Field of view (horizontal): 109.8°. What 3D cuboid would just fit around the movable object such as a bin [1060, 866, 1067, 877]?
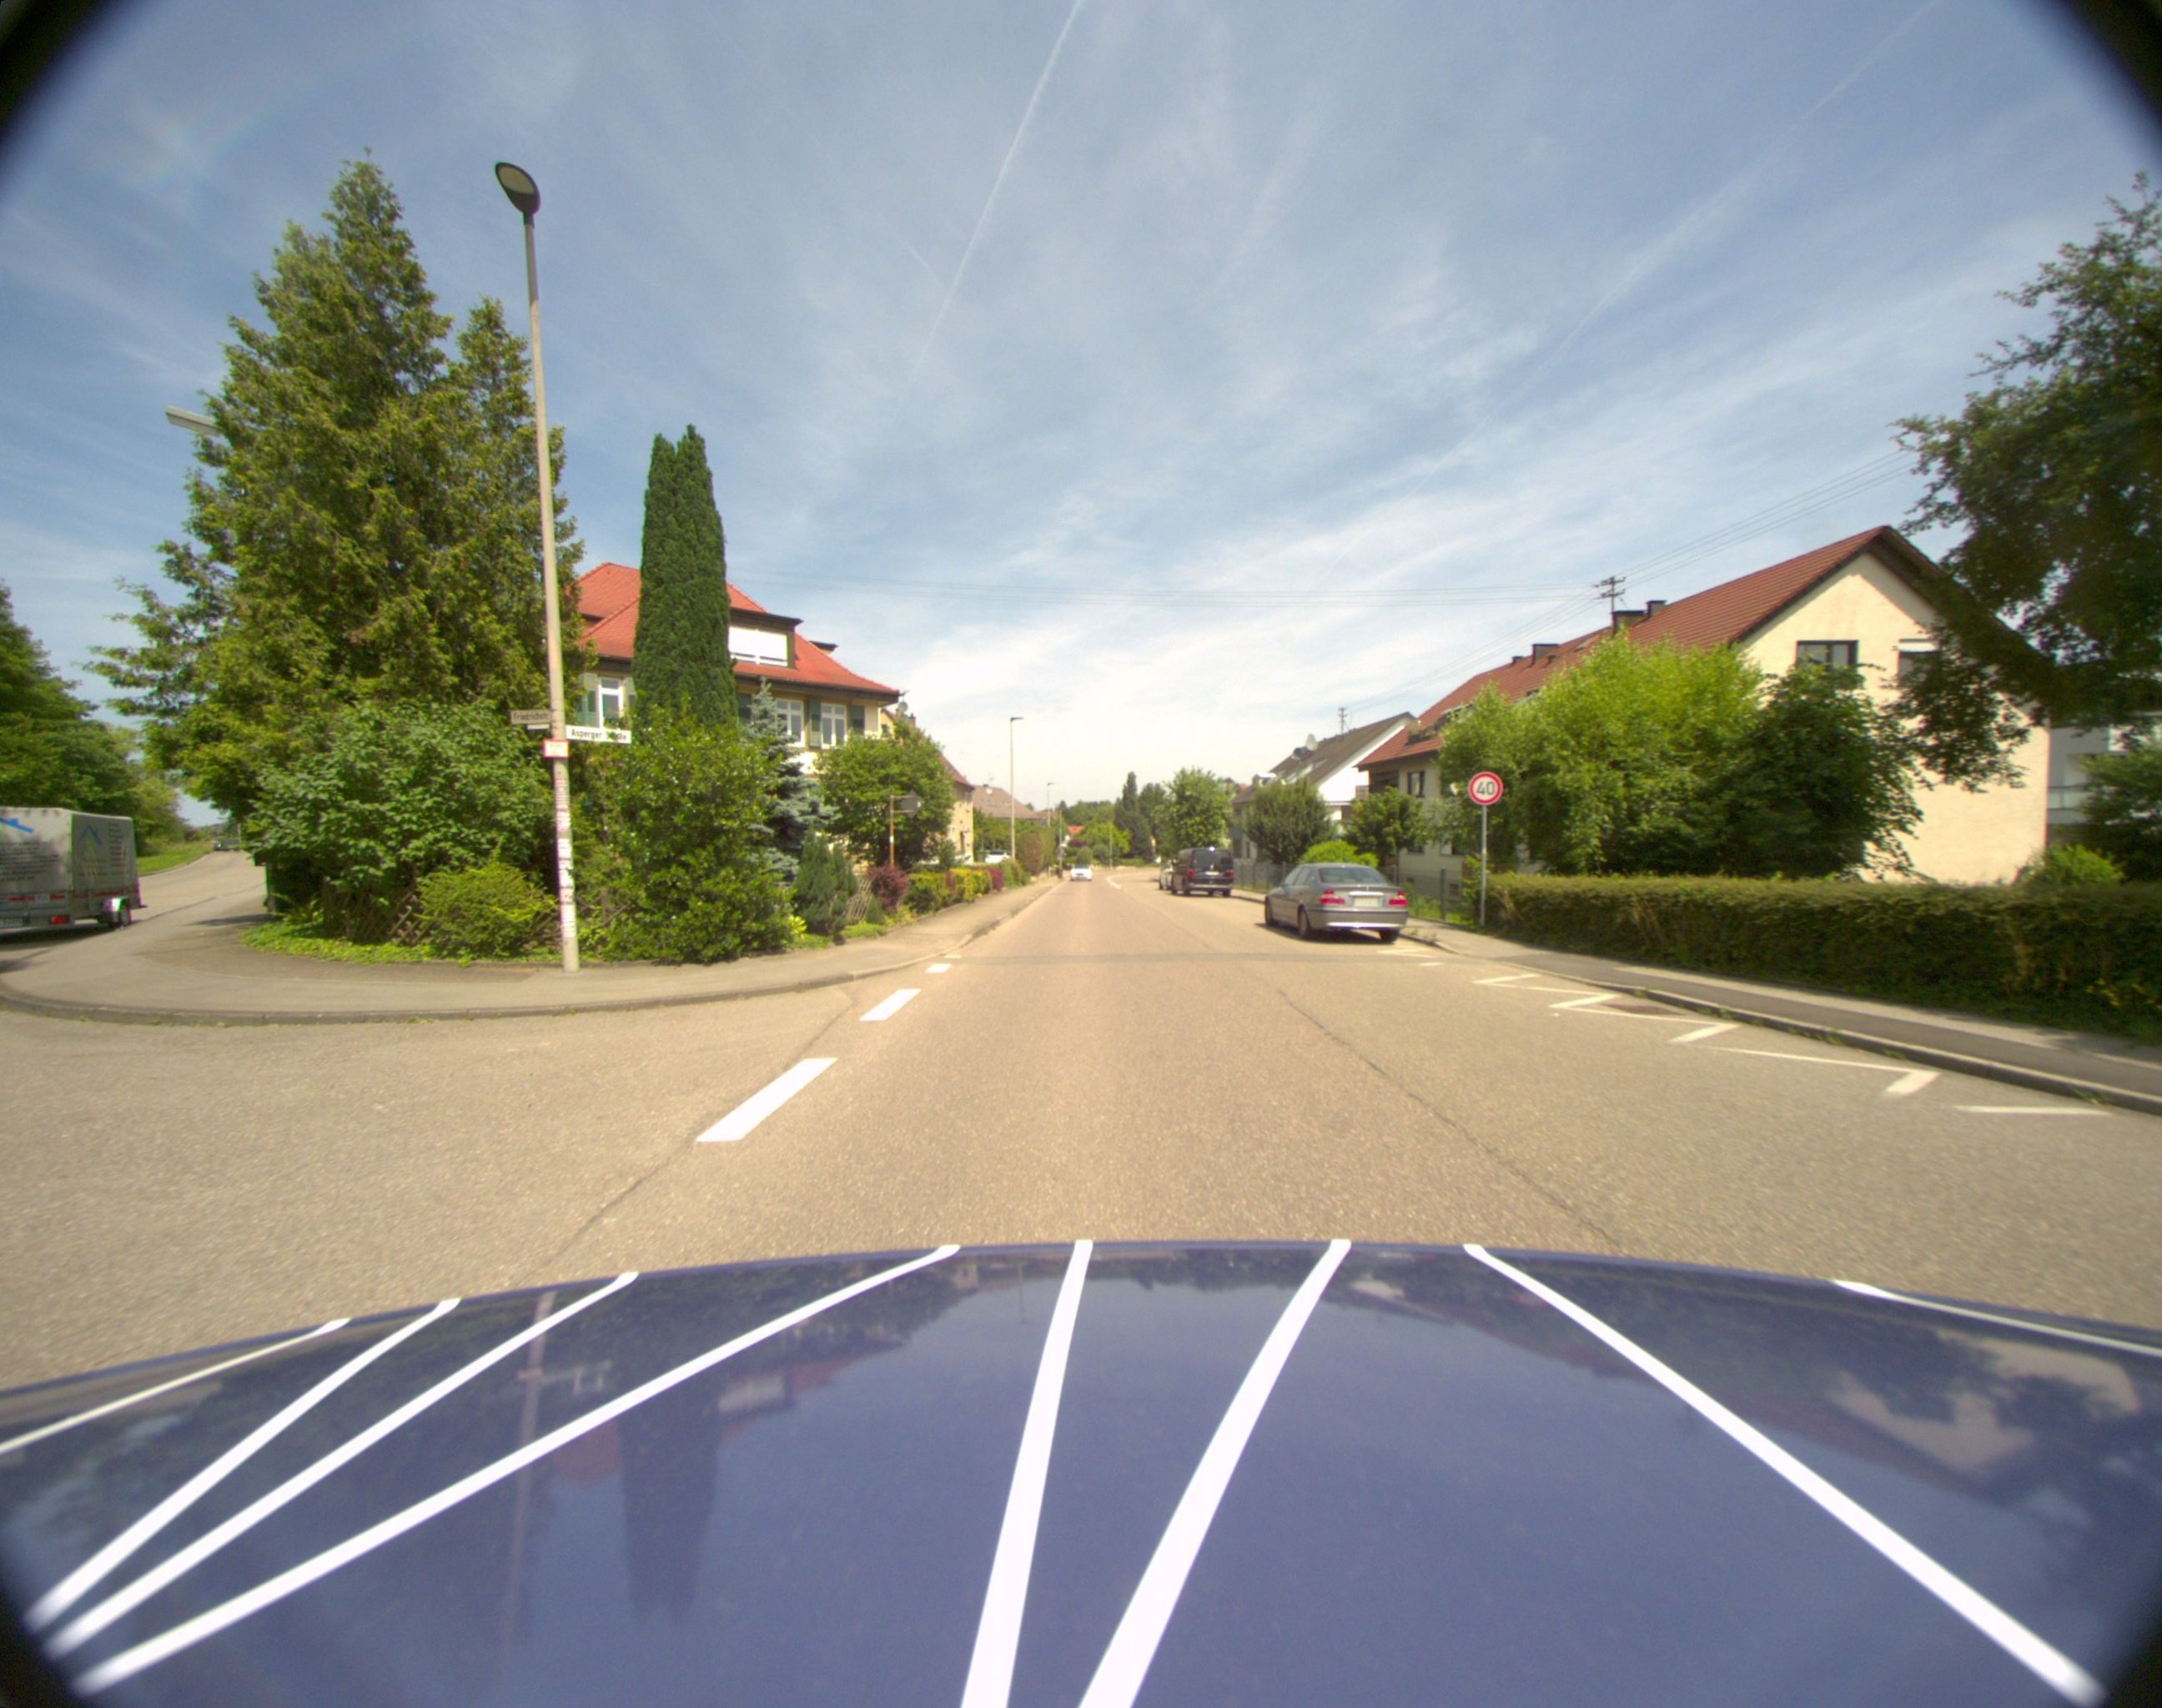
[{"bbox_3d":[-1.637,1.579,69.665,0.590,0.972,0.786,2,0,0],"label":"movable object such as a bin"}]

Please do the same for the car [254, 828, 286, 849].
[{"bbox_3d":[-72.670,-1.357,68.091,3.887,1.839,1.851,0,1,42],"label":"car"}]

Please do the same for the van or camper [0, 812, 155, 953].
[{"bbox_3d":[-17.717,0.437,12.867,1.822,2.129,3.378,-5,4,-39],"label":"van or camper"}]

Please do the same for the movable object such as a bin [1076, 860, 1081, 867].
[{"bbox_3d":[-0.375,1.482,119.215,0.485,1.064,0.565,0,1,22],"label":"movable object such as a bin"}]

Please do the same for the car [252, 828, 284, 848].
[{"bbox_3d":[-76.286,-1.485,71.284,3.887,1.839,1.851,0,1,41],"label":"car"}]

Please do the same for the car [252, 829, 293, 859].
[{"bbox_3d":[-57.909,-0.688,54.394,3.887,2.069,1.851,0,1,42],"label":"car"}]

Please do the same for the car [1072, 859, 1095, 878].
[{"bbox_3d":[0.199,1.259,65.761,1.827,1.543,3.999,0,0,-2],"label":"car"}]

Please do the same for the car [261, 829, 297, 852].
[{"bbox_3d":[-64.488,-1.056,61.045,3.887,1.839,1.851,0,1,42],"label":"car"}]

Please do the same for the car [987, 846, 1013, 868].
[{"bbox_3d":[-6.279,0.206,59.024,1.609,1.474,3.557,0,3,0],"label":"car"}]

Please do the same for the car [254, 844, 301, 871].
[{"bbox_3d":[-49.359,0.171,46.637,3.887,1.568,1.851,0,1,42],"label":"car"}]

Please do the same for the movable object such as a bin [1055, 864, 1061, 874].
[{"bbox_3d":[-2.573,1.694,86.138,0.589,1.052,0.920,1,0,3],"label":"movable object such as a bin"}]

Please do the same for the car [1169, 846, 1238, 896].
[{"bbox_3d":[5.044,0.678,31.960,1.901,1.909,4.870,1,-1,-2],"label":"car"}]

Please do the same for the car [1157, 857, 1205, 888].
[{"bbox_3d":[5.141,0.934,39.411,1.816,1.540,4.243,0,-1,-2],"label":"car"}]

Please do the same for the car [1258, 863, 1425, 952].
[{"bbox_3d":[4.871,0.920,14.906,1.784,1.386,4.409,1,0,1],"label":"car"}]
